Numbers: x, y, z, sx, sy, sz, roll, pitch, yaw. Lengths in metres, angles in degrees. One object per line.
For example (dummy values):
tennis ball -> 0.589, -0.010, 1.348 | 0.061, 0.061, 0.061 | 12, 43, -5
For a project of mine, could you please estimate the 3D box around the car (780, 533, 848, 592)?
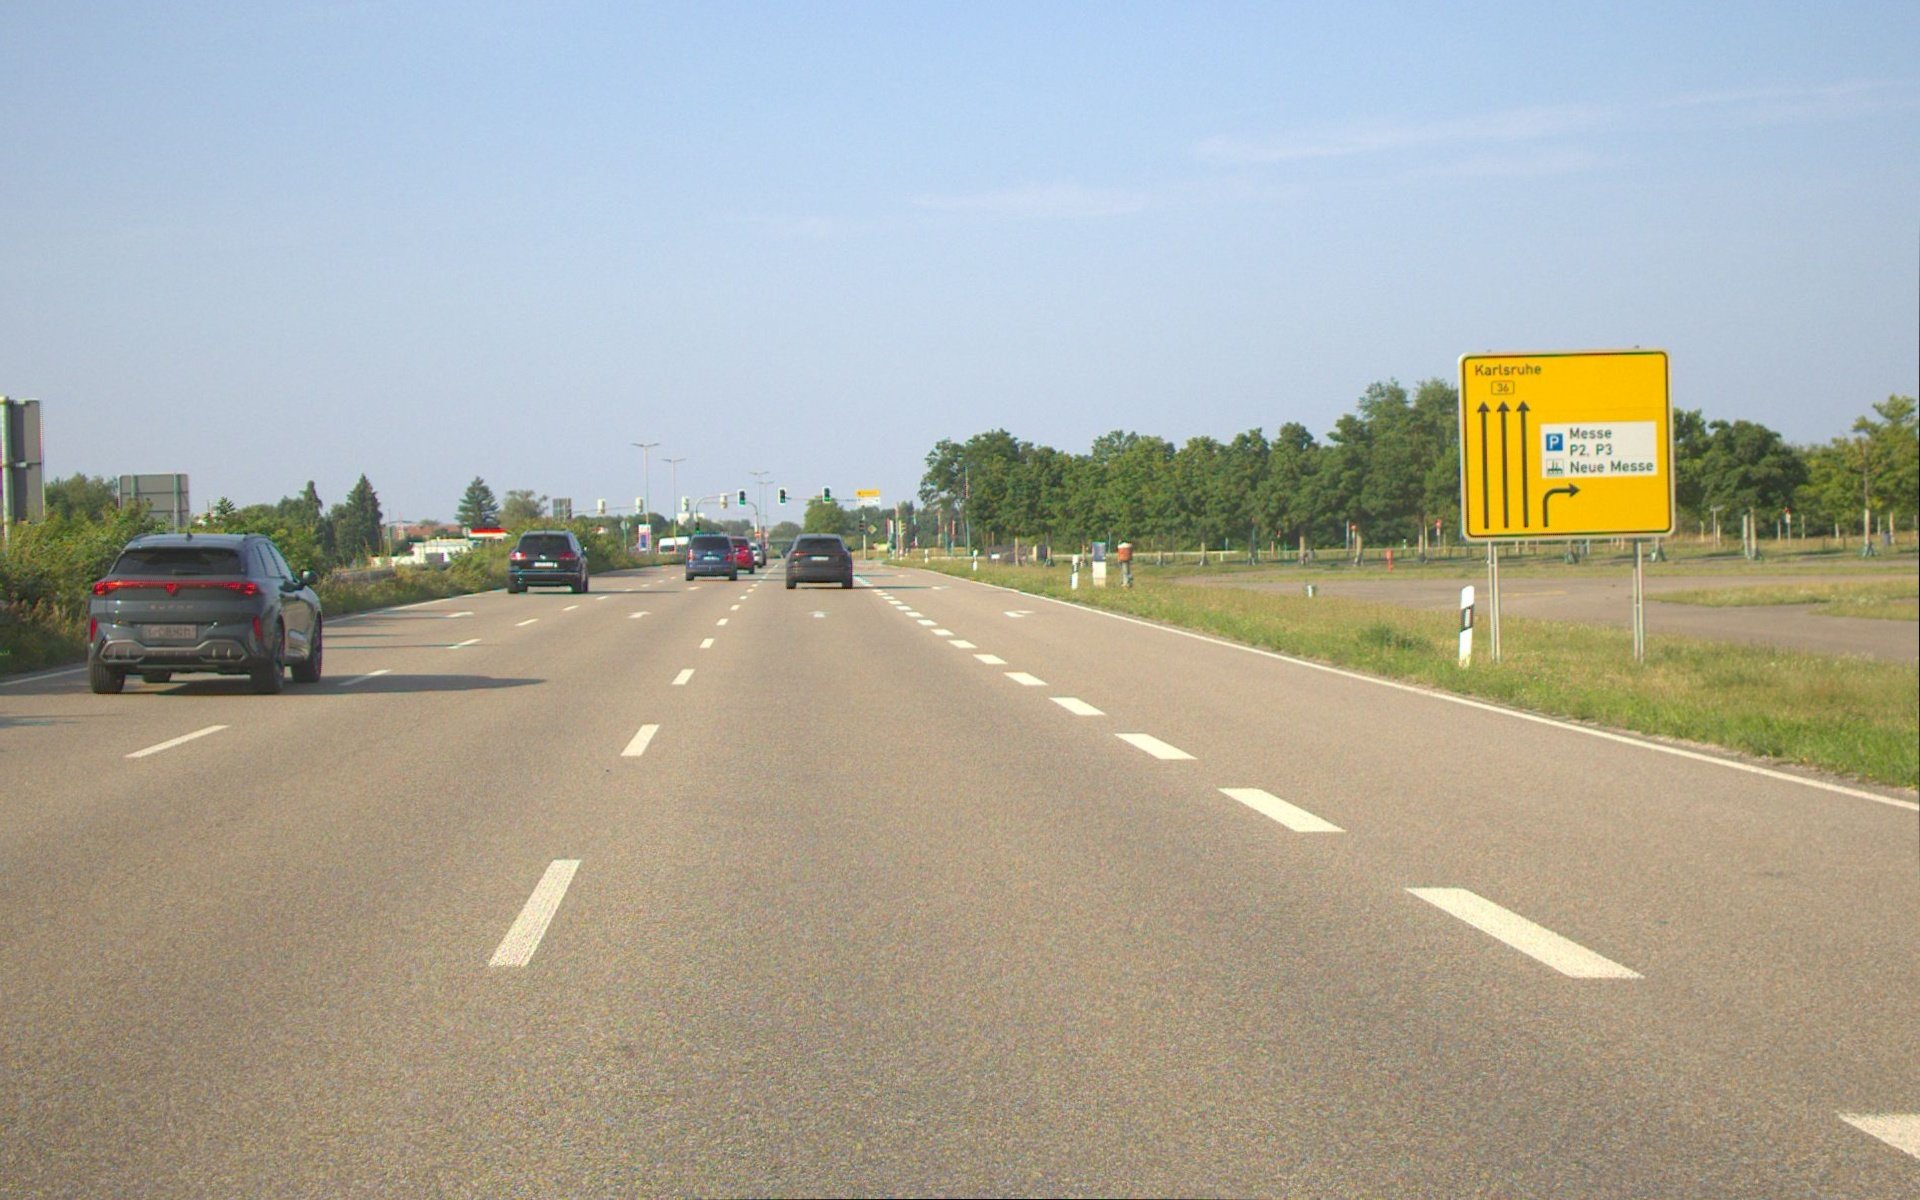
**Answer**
car -> -4.330, -1.135, 101.791 | 1.932, 1.674, 4.401 | 1, 1, -3

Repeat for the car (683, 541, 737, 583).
car -> -8.947, -1.384, 123.181 | 1.812, 1.458, 4.401 | 1, 1, -3

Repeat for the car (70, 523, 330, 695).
car -> -7.671, 0.049, 35.088 | 1.845, 1.606, 4.401 | 1, 1, -3

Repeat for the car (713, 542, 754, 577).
car -> -9.736, -1.748, 148.072 | 1.647, 1.458, 3.981 | 1, 1, -3

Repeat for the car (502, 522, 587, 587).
car -> -11.199, -1.236, 92.886 | 1.932, 1.674, 4.401 | 1, 1, -3

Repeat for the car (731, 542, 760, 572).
car -> -12.324, -2.471, 197.705 | 1.645, 1.722, 3.401 | 0, 0, -3
